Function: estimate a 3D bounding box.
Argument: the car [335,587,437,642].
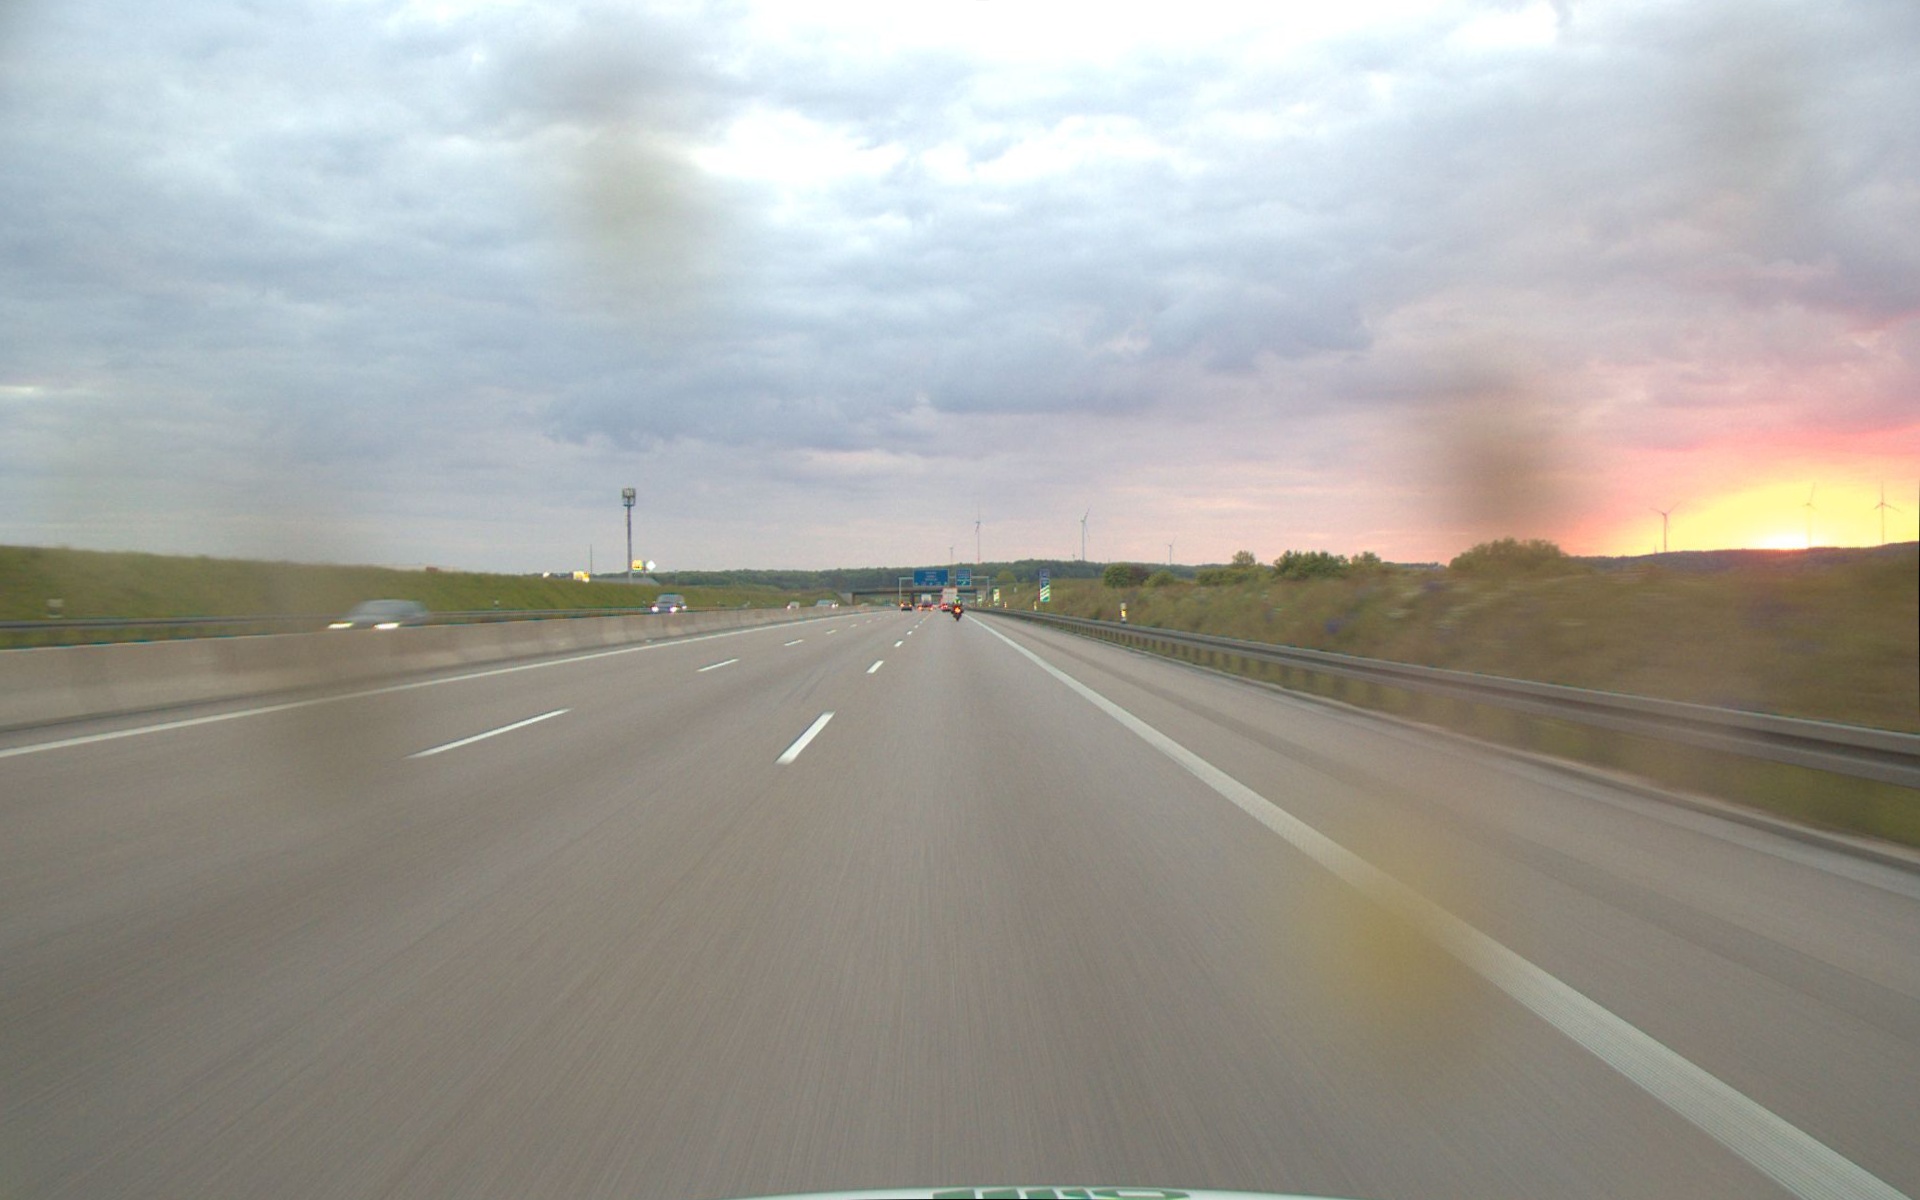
[{"bbox_3d":[-18.971,0.449,54.886,1.787,1.691,4.650,1,0,-1],"label":"car"}]

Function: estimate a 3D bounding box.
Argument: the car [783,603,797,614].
[{"bbox_3d":[-24.850,1.201,242.000,1.597,1.544,4.425,0,0,-1],"label":"car"}]

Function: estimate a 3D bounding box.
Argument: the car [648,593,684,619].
[{"bbox_3d":[-23.135,0.443,130.363,1.953,1.970,5.089,1,0,-1],"label":"car"}]

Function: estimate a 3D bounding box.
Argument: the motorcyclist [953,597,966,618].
[{"bbox_3d":[-0.023,0.533,116.904,0.848,1.514,1.168,1,0,1],"label":"motorcyclist"}]

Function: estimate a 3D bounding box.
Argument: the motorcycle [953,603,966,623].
[{"bbox_3d":[-0.045,0.888,117.019,0.883,1.370,2.348,0,0,0],"label":"motorcycle"}]

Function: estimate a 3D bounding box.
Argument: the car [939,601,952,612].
[{"bbox_3d":[-2.113,1.015,246.154,1.879,1.607,3.999,0,0,-2],"label":"car"}]
